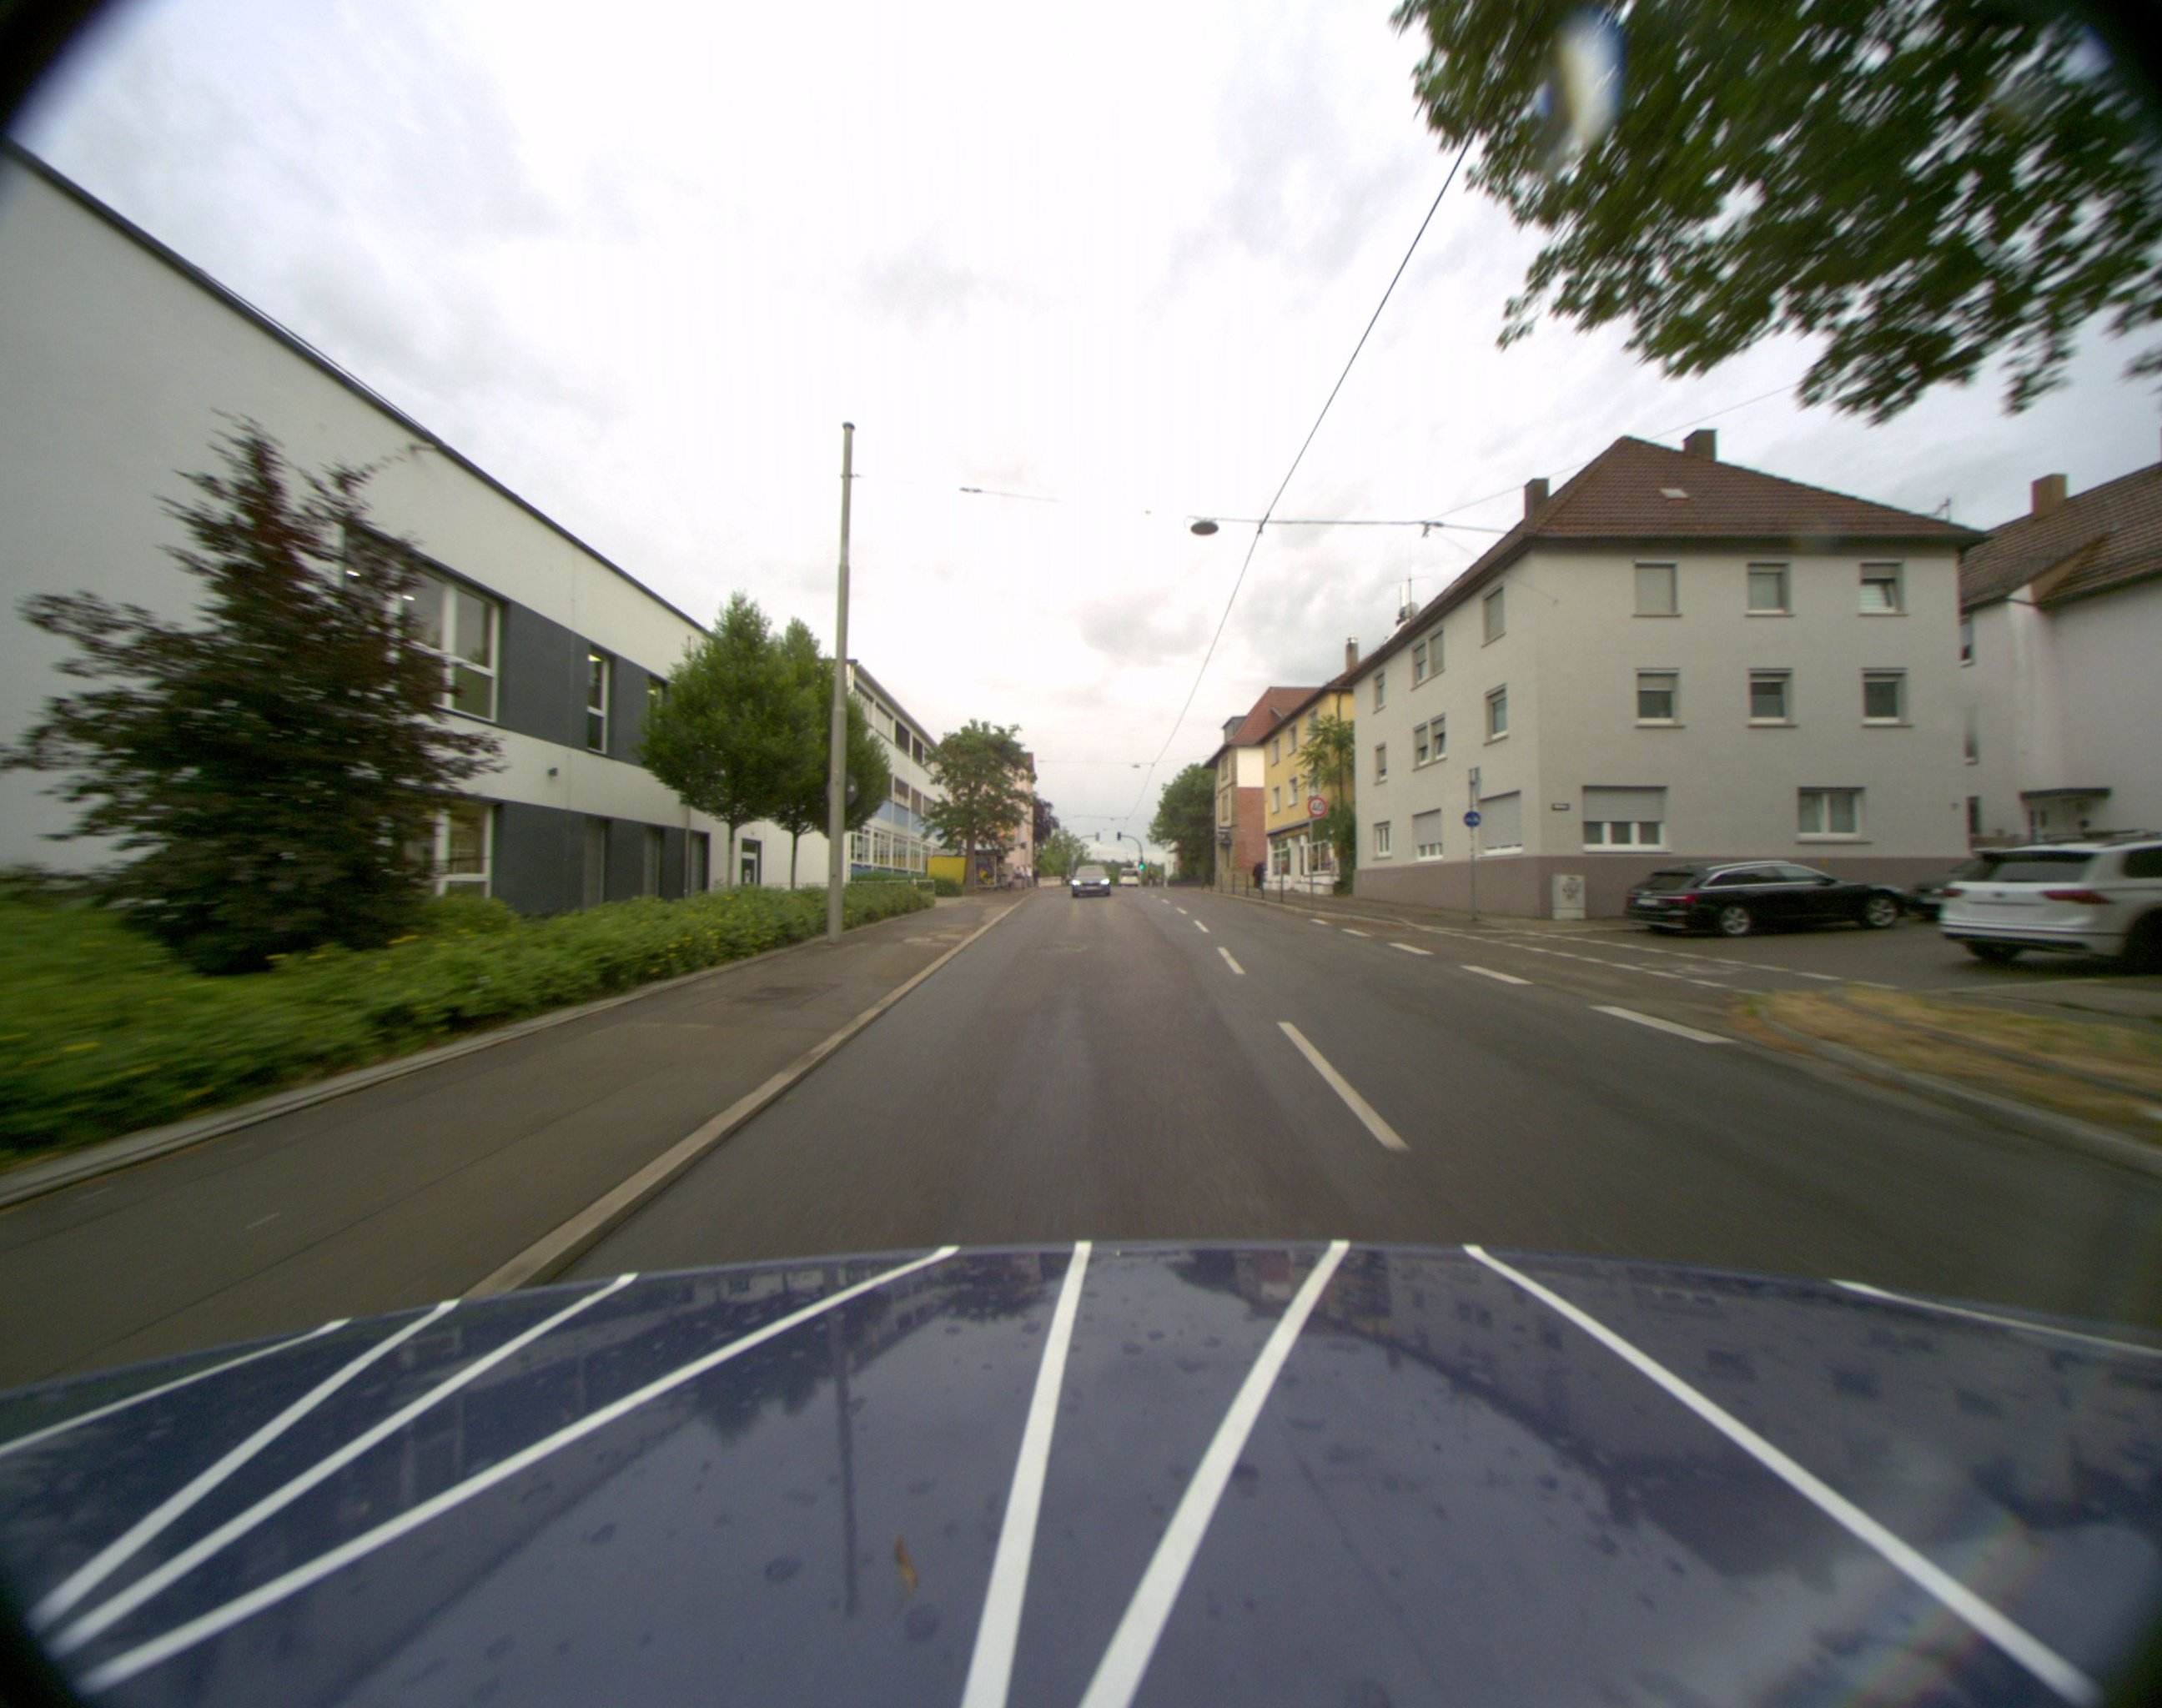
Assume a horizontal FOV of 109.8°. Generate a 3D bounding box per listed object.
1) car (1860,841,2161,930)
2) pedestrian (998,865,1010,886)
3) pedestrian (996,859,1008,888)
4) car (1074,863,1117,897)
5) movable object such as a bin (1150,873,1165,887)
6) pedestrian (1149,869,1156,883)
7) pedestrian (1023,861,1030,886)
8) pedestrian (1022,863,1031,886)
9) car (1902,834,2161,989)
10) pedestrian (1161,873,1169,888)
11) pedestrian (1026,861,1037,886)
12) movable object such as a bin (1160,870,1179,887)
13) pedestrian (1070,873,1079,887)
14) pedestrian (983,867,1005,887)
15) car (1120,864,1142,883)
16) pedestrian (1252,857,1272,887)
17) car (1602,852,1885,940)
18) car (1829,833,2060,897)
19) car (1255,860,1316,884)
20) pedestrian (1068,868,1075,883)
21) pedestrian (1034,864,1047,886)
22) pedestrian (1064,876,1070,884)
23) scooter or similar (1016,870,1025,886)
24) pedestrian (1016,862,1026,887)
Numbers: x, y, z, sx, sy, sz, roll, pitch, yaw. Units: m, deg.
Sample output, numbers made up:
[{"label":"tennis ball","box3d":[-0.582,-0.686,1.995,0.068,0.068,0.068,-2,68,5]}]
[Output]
[{"label":"car","box3d":[18.966,0.618,15.533,3.997,1.444,1.974,-4,-1,0]},{"label":"pedestrian","box3d":[-5.926,1.675,58.824,0.676,1.616,0.623,3,-1,-28]},{"label":"pedestrian","box3d":[-4.886,1.210,47.081,0.648,1.820,0.741,1,-1,-5]},{"label":"car","box3d":[0.665,1.242,35.082,1.837,1.429,4.003,-1,-3,1]},{"label":"movable object such as a bin","box3d":[17.400,5.991,173.139,2.828,3.092,4.641,-1,-3,13]},{"label":"pedestrian","box3d":[9.253,2.847,98.370,0.864,1.870,1.044,0,-3,-1]},{"label":"pedestrian","box3d":[-4.049,1.435,56.088,0.460,1.829,0.604,2,-1,-5]},{"label":"pedestrian","box3d":[-4.074,1.558,56.820,0.447,1.697,0.558,2,-1,7]},{"label":"car","box3d":[14.068,0.637,10.020,4.193,1.694,2.000,-4,-1,1]},{"label":"pedestrian","box3d":[10.732,3.361,97.122,0.808,1.810,1.117,-1,-3,0]},{"label":"pedestrian","box3d":[-3.732,1.505,57.398,0.486,1.864,0.634,1,-1,36]},{"label":"movable object such as a bin","box3d":[22.160,6.185,189.687,2.951,3.819,8.143,-1,-3,18]},{"label":"pedestrian","box3d":[-0.812,3.051,89.297,0.876,1.551,1.050,-2,-1,7]},{"label":"pedestrian","box3d":[-5.691,1.503,49.670,1.359,1.265,0.741,1,-1,-5]},{"label":"car","box3d":[4.874,1.869,74.270,1.886,1.858,4.454,0,-1,1]},{"label":"pedestrian","box3d":[10.430,1.033,43.848,0.817,1.669,0.993,-1,0,-2]},{"label":"car","box3d":[13.429,0.823,15.612,3.997,1.444,2.000,-4,-1,0]},{"label":"car","box3d":[23.399,0.280,20.856,1.802,1.511,4.001,-3,0,1]},{"label":"car","box3d":[13.988,1.230,52.056,3.574,1.477,1.947,-2,-1,-1]},{"label":"pedestrian","box3d":[-1.091,2.484,86.905,0.786,1.632,1.222,-2,-1,-1]},{"label":"pedestrian","box3d":[-3.094,1.597,57.705,0.638,1.699,0.747,3,-1,-33]},{"label":"pedestrian","box3d":[-2.555,4.679,137.008,0.922,1.537,0.544,1,-2,-31]},{"label":"scooter or similar","box3d":[-4.245,1.701,53.265,0.619,1.133,0.567,1,-1,-5]},{"label":"pedestrian","box3d":[-4.243,1.430,53.919,0.662,1.731,0.829,1,-1,-5]}]
